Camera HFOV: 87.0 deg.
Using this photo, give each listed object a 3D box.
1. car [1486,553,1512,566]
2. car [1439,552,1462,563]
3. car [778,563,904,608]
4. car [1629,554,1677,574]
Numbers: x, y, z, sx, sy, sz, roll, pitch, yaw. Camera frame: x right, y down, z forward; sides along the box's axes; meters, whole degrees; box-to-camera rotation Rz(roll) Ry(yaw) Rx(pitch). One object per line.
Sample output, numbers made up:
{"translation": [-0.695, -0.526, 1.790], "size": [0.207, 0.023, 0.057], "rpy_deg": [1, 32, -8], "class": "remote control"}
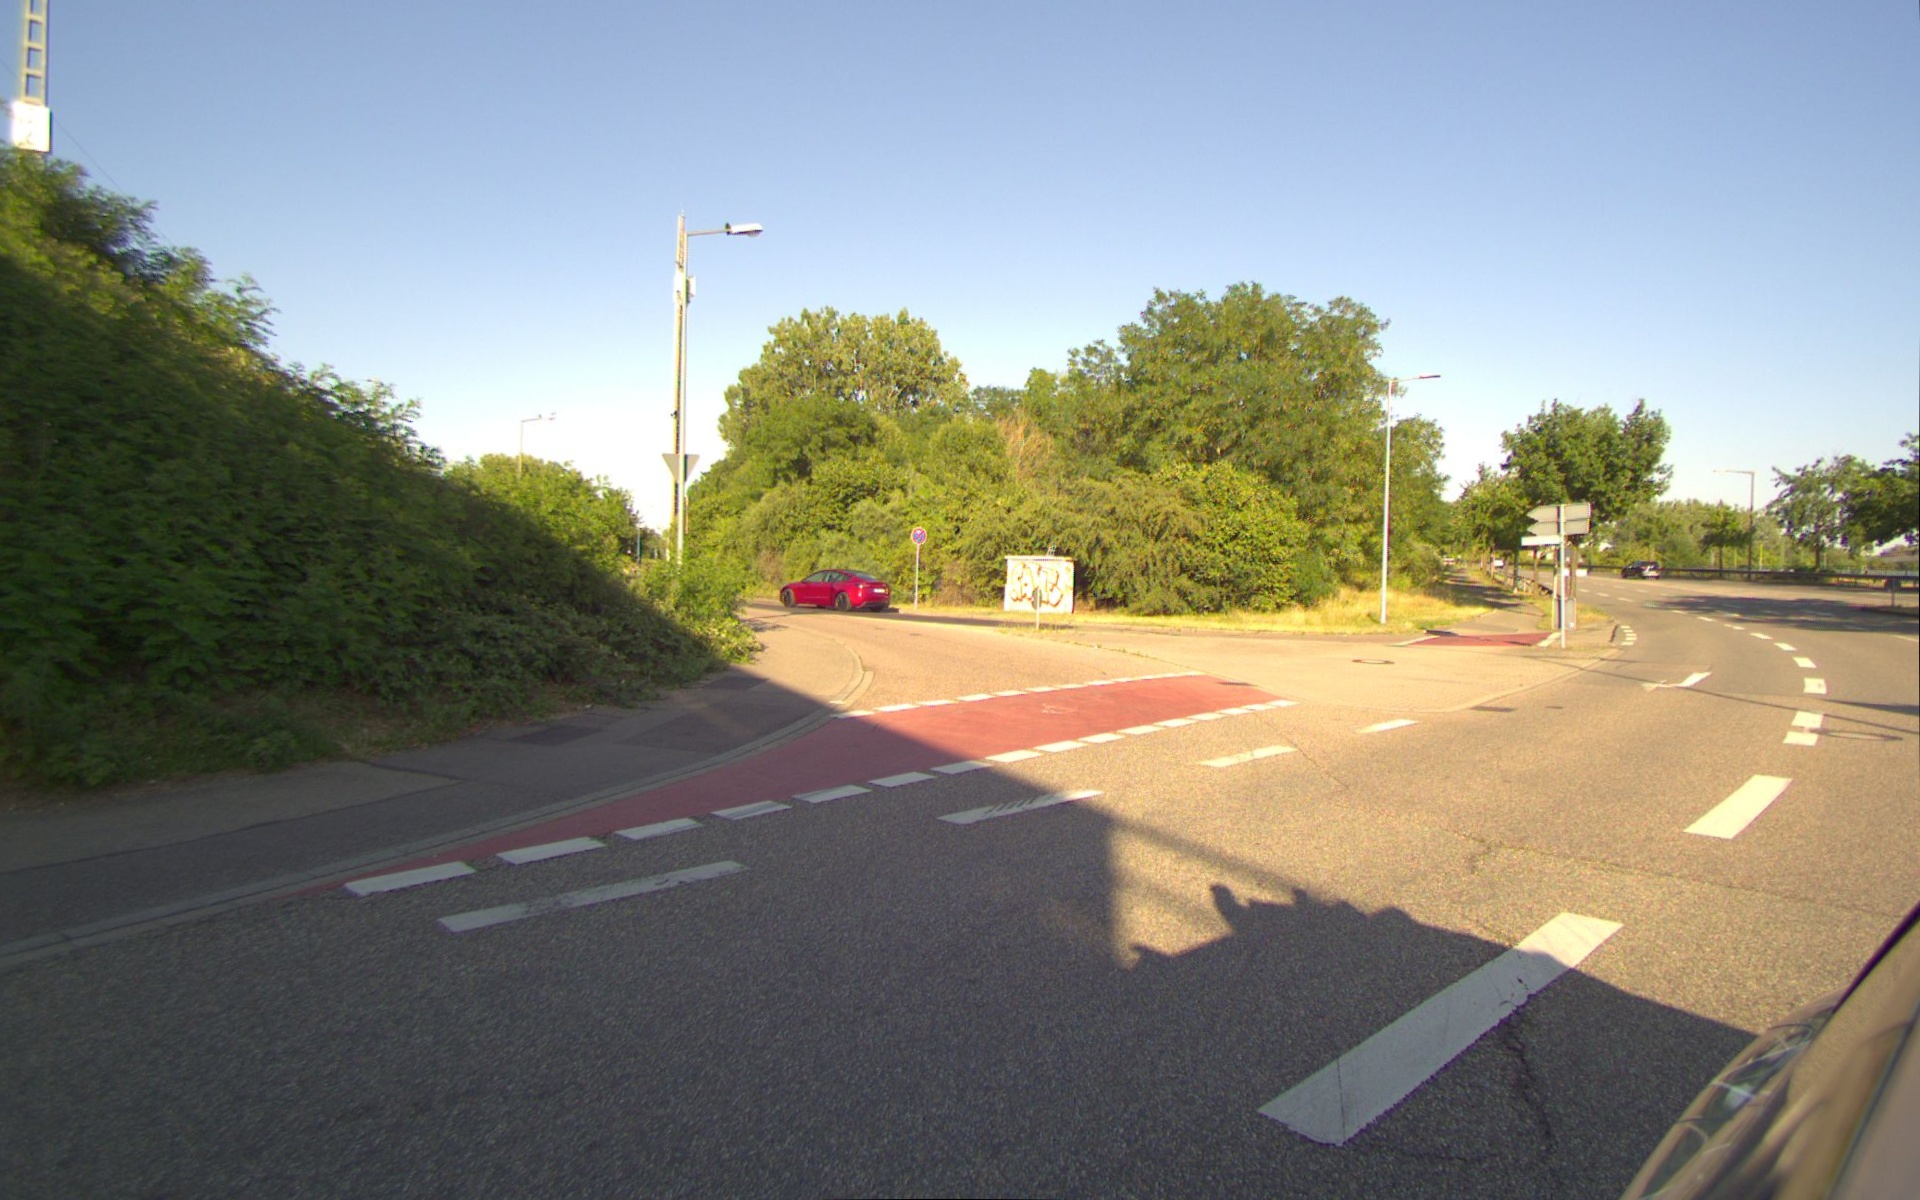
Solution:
{"translation": [67.745, -5.095, 127.179], "size": [1.651, 1.480, 4.095], "rpy_deg": [0, 2, 10], "class": "car"}
{"translation": [70.423, -6.133, 145.329], "size": [1.716, 1.481, 3.760], "rpy_deg": [-1, 1, 7], "class": "car"}
{"translation": [-4.201, -0.518, 35.337], "size": [4.333, 1.460, 1.759], "rpy_deg": [1, -1, 36], "class": "car"}
{"translation": [59.340, -3.089, 86.744], "size": [1.824, 1.623, 4.379], "rpy_deg": [1, 2, 13], "class": "car"}
